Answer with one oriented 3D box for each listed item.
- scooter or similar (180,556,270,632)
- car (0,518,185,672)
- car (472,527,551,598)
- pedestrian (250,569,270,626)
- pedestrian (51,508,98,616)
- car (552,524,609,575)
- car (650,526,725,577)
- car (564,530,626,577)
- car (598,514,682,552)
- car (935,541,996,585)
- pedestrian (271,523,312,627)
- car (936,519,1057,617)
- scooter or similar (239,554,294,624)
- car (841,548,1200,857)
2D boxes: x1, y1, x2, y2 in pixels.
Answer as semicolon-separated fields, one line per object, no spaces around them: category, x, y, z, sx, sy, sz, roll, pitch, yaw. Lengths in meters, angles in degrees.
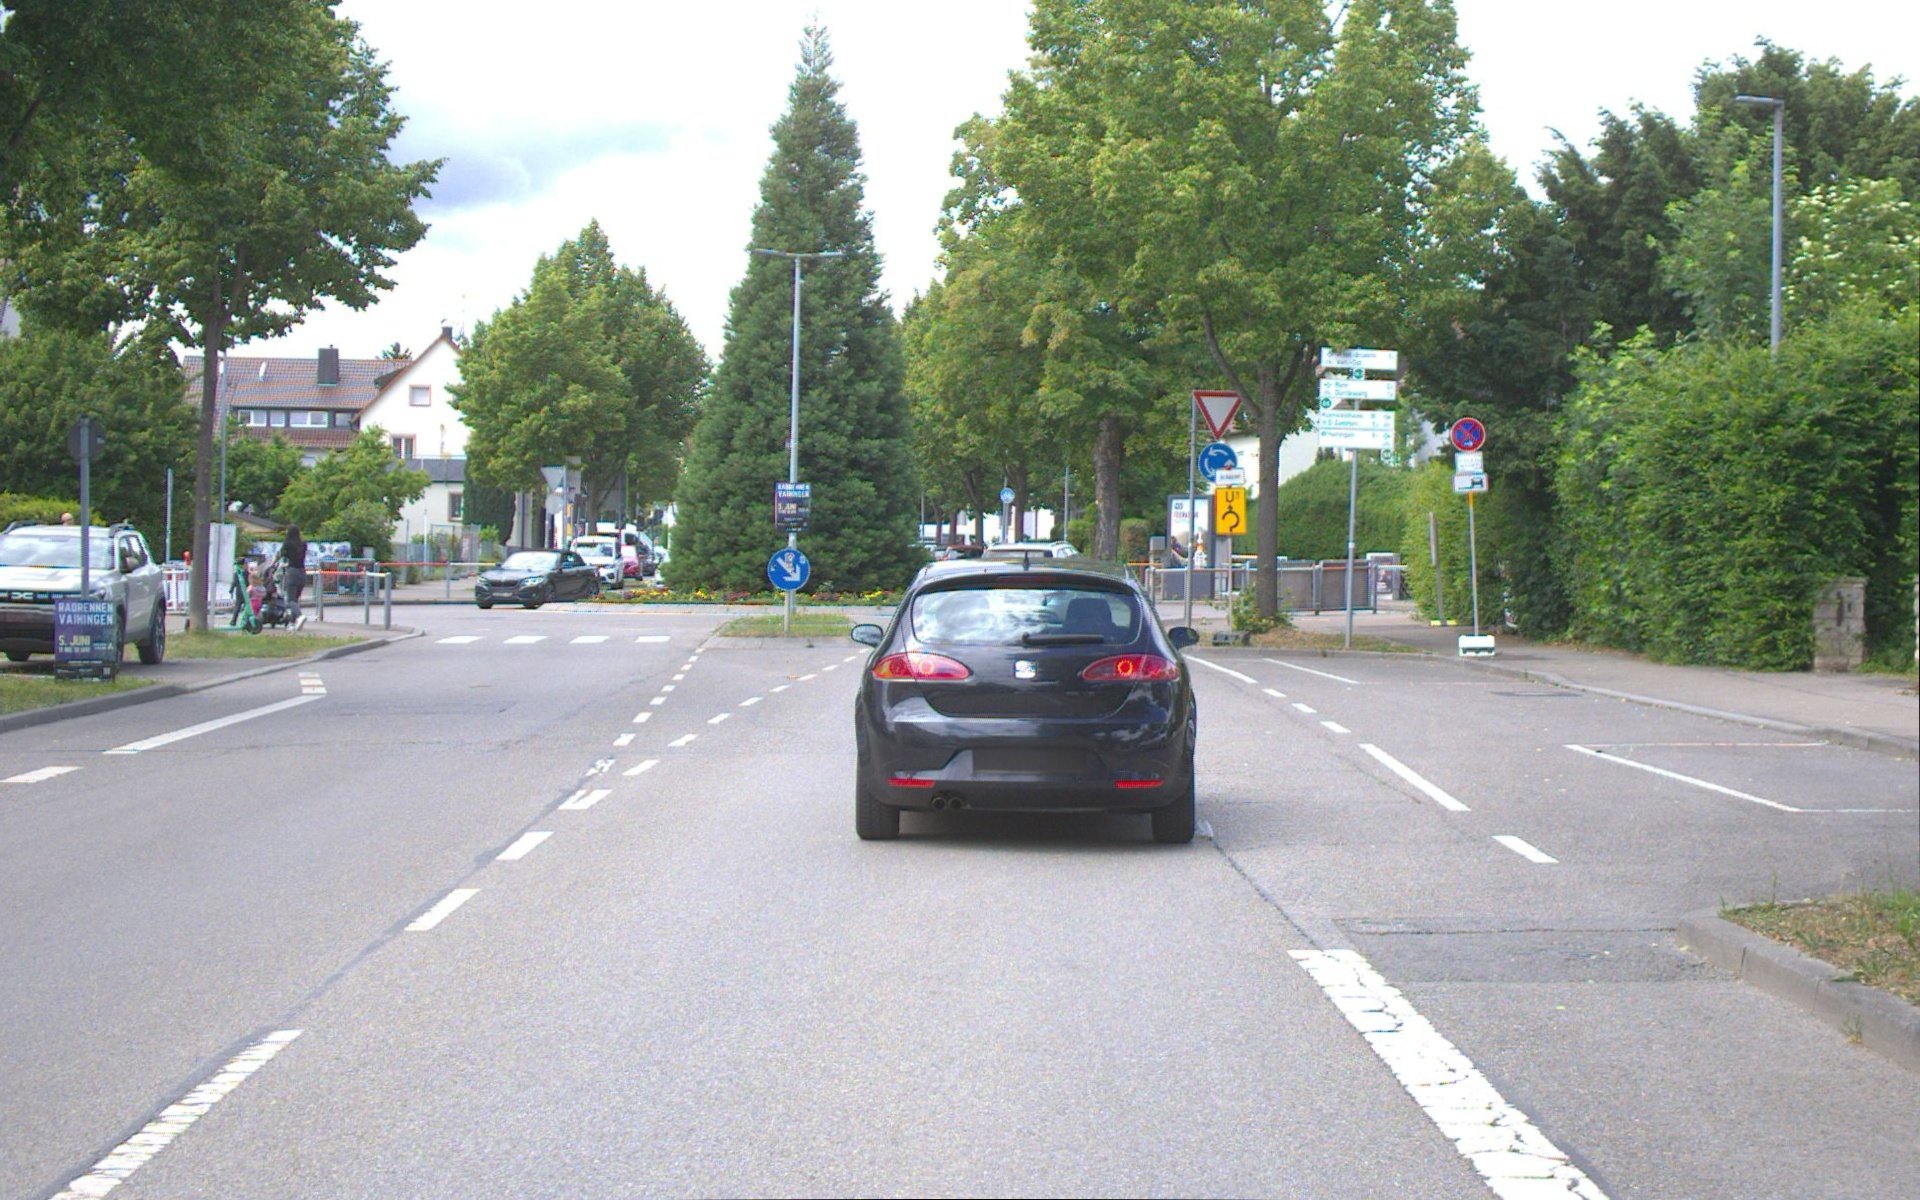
scooter or similar;-11.073;-0.093;51.797;1.284;1.135;0.347;0;1;-32
car;-10.252;-0.101;39.308;1.860;1.648;4.295;1;1;-1
car;-10.471;-0.891;80.483;1.568;1.628;3.622;0;1;-3
pedestrian;-11.051;-0.037;54.275;0.238;0.891;0.259;0;1;-29
pedestrian;-14.618;-0.632;56.775;0.561;1.778;0.540;0;1;-40
car;-14.883;-1.986;134.889;2.029;1.964;4.001;0;1;-3
car;-8.588;-1.532;108.497;1.869;1.555;4.259;0;1;2
car;-12.412;-1.592;116.986;1.797;1.596;4.000;0;1;-2
car;-16.937;-3.549;181.978;3.990;1.964;2.035;0;1;18
car;0.179;-1.292;118.477;1.474;1.484;3.383;0;1;-11
pedestrian;-10.802;-0.404;55.551;0.481;1.664;0.516;0;1;-34
car;0.629;-0.565;59.567;1.993;1.607;4.000;1;1;1
scooter or similar;-11.321;-0.181;56.132;0.406;1.092;0.969;2;1;-42
car;0.357;0.464;18.650;1.732;1.481;4.000;0;1;2
